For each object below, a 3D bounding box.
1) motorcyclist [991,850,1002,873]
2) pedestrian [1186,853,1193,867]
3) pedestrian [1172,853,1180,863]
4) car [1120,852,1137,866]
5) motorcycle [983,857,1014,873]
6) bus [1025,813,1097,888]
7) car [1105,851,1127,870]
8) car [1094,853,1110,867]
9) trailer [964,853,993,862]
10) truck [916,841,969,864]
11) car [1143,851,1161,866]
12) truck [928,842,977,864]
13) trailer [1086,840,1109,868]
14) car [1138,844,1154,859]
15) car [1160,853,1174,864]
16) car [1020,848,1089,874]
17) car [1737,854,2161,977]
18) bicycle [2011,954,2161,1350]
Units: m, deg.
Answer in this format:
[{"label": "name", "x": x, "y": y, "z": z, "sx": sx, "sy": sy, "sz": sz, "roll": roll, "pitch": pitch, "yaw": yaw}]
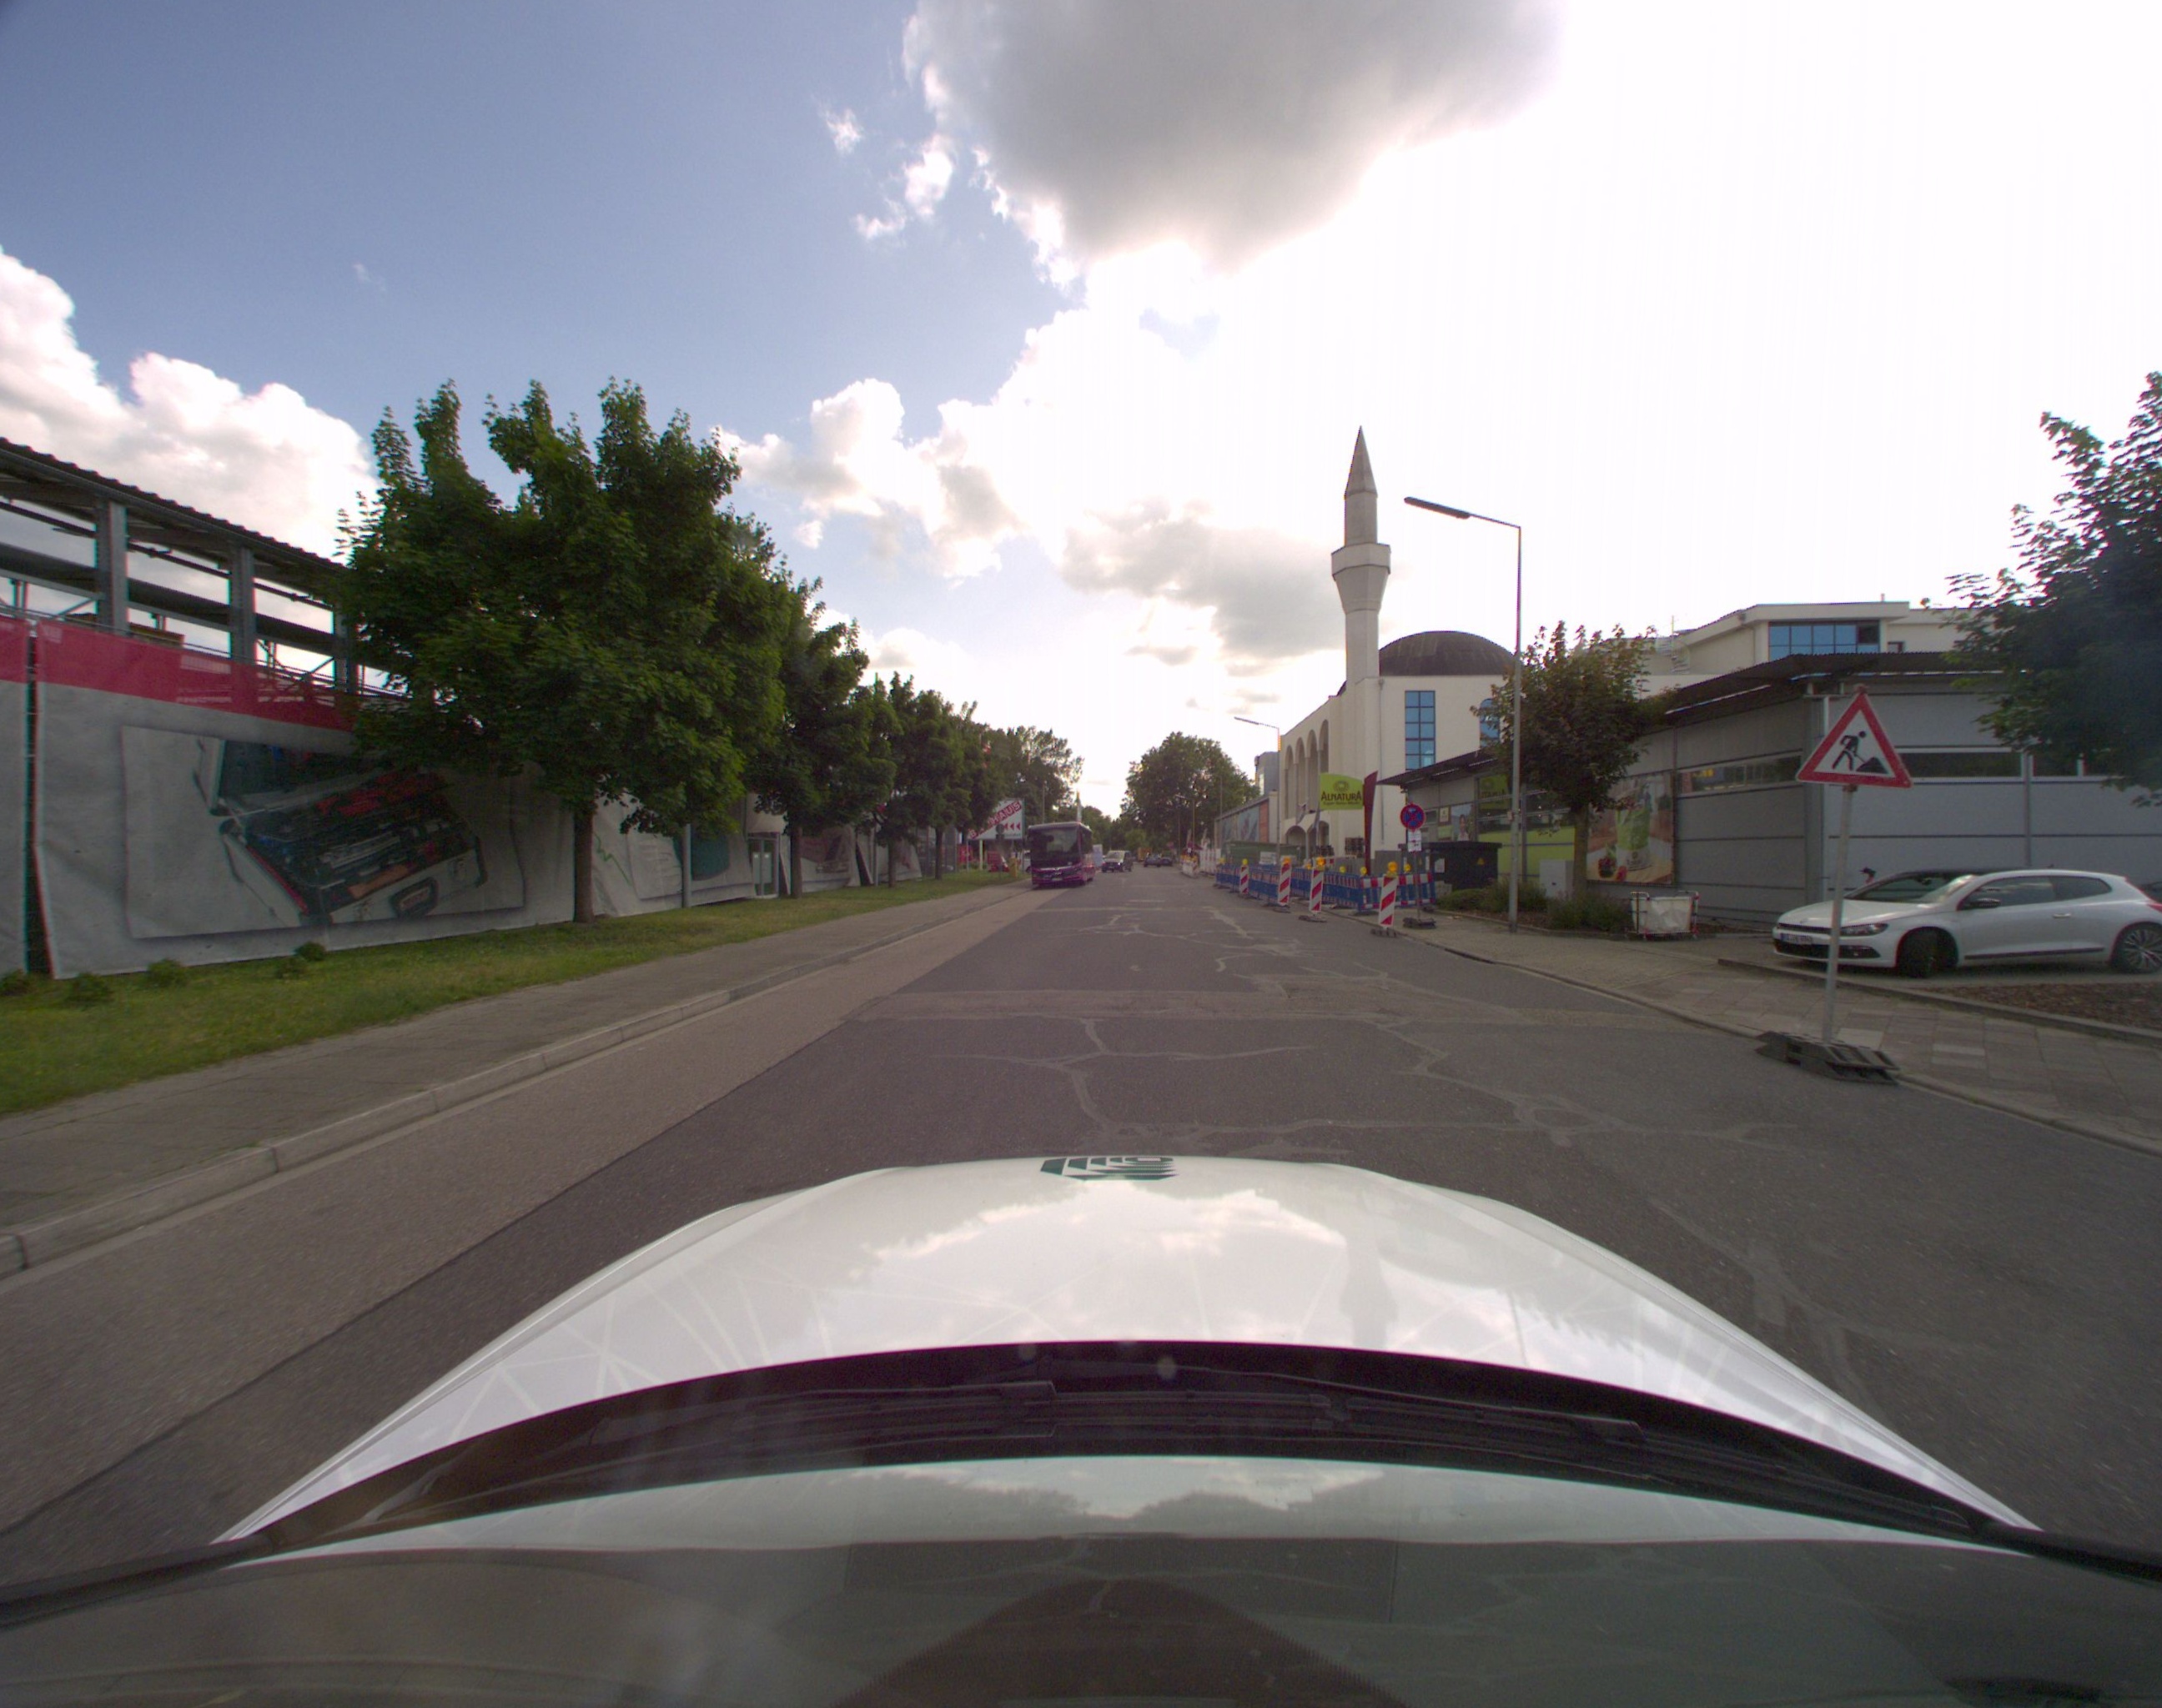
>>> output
[{"label": "motorcyclist", "x": -6.475, "y": 0.566, "z": 62.692, "sx": 0.671, "sy": 1.723, "sz": 0.995, "roll": -1, "pitch": 0, "yaw": 4}, {"label": "pedestrian", "x": 12.259, "y": 0.661, "z": 92.184, "sx": 0.678, "sy": 1.534, "sz": 1.131, "roll": 0, "pitch": -1, "yaw": 3}, {"label": "pedestrian", "x": 16.171, "y": 0.689, "z": 138.976, "sx": 1.002, "sy": 1.849, "sz": 1.223, "roll": 0, "pitch": -1, "yaw": -14}, {"label": "car", "x": 5.200, "y": 0.560, "z": 88.969, "sx": 1.788, "sy": 1.459, "sz": 4.389, "roll": -1, "pitch": 0, "yaw": 4}, {"label": "motorcycle", "x": -6.333, "y": 0.823, "z": 62.678, "sx": 2.211, "sy": 1.213, "sz": 0.995, "roll": -1, "pitch": 0, "yaw": 4}, {"label": "bus", "x": -0.827, "y": -0.179, "z": 45.630, "sx": 2.651, "sy": 3.422, "sz": 13.231, "roll": -4, "pitch": 0, "yaw": 4}, {"label": "car", "x": 3.125, "y": 0.541, "z": 72.016, "sx": 1.861, "sy": 1.630, "sz": 4.130, "roll": 0, "pitch": 0, "yaw": 3}, {"label": "car", "x": 2.476, "y": 0.672, "z": 96.266, "sx": 1.758, "sy": 1.479, "sz": 4.238, "roll": -3, "pitch": 0, "yaw": 3}, {"label": "trailer", "x": -14.361, "y": 0.478, "z": 114.285, "sx": 3.794, "sy": 1.190, "sz": 1.719, "roll": 0, "pitch": 0, "yaw": 9}, {"label": "truck", "x": -16.077, "y": -0.113, "z": 94.446, "sx": 5.726, "sy": 2.594, "sz": 1.818, "roll": 0, "pitch": -2, "yaw": 5}, {"label": "car", "x": 8.550, "y": 0.536, "z": 97.876, "sx": 1.954, "sy": 1.815, "sz": 4.277, "roll": 0, "pitch": 0, "yaw": 2}, {"label": "truck", "x": -15.367, "y": -0.095, "z": 97.606, "sx": 5.523, "sy": 2.594, "sz": 1.781, "roll": 0, "pitch": -2, "yaw": 4}, {"label": "trailer", "x": 1.716, "y": -0.007, "z": 85.499, "sx": 2.130, "sy": 2.783, "sz": 4.707, "roll": -2, "pitch": 0, "yaw": 3}, {"label": "car", "x": 11.838, "y": -0.431, "z": 149.166, "sx": 2.193, "sy": 2.578, "sz": 6.399, "roll": 0, "pitch": 0, "yaw": -2}, {"label": "car", "x": 11.682, "y": 0.609, "z": 110.662, "sx": 1.799, "sy": 1.391, "sz": 4.594, "roll": 3, "pitch": 0, "yaw": 5}, {"label": "car", "x": -1.991, "y": 0.515, "z": 61.931, "sx": 4.971, "sy": 1.949, "sz": 1.997, "roll": 0, "pitch": 0, "yaw": 9}, {"label": "car", "x": 11.908, "y": 0.774, "z": 11.225, "sx": 4.086, "sy": 1.463, "sz": 1.991, "roll": -1, "pitch": 0, "yaw": 2}, {"label": "bicycle", "x": 3.733, "y": 0.964, "z": 1.647, "sx": 0.794, "sy": 1.180, "sz": 2.629, "roll": 2, "pitch": 0, "yaw": 3}]
